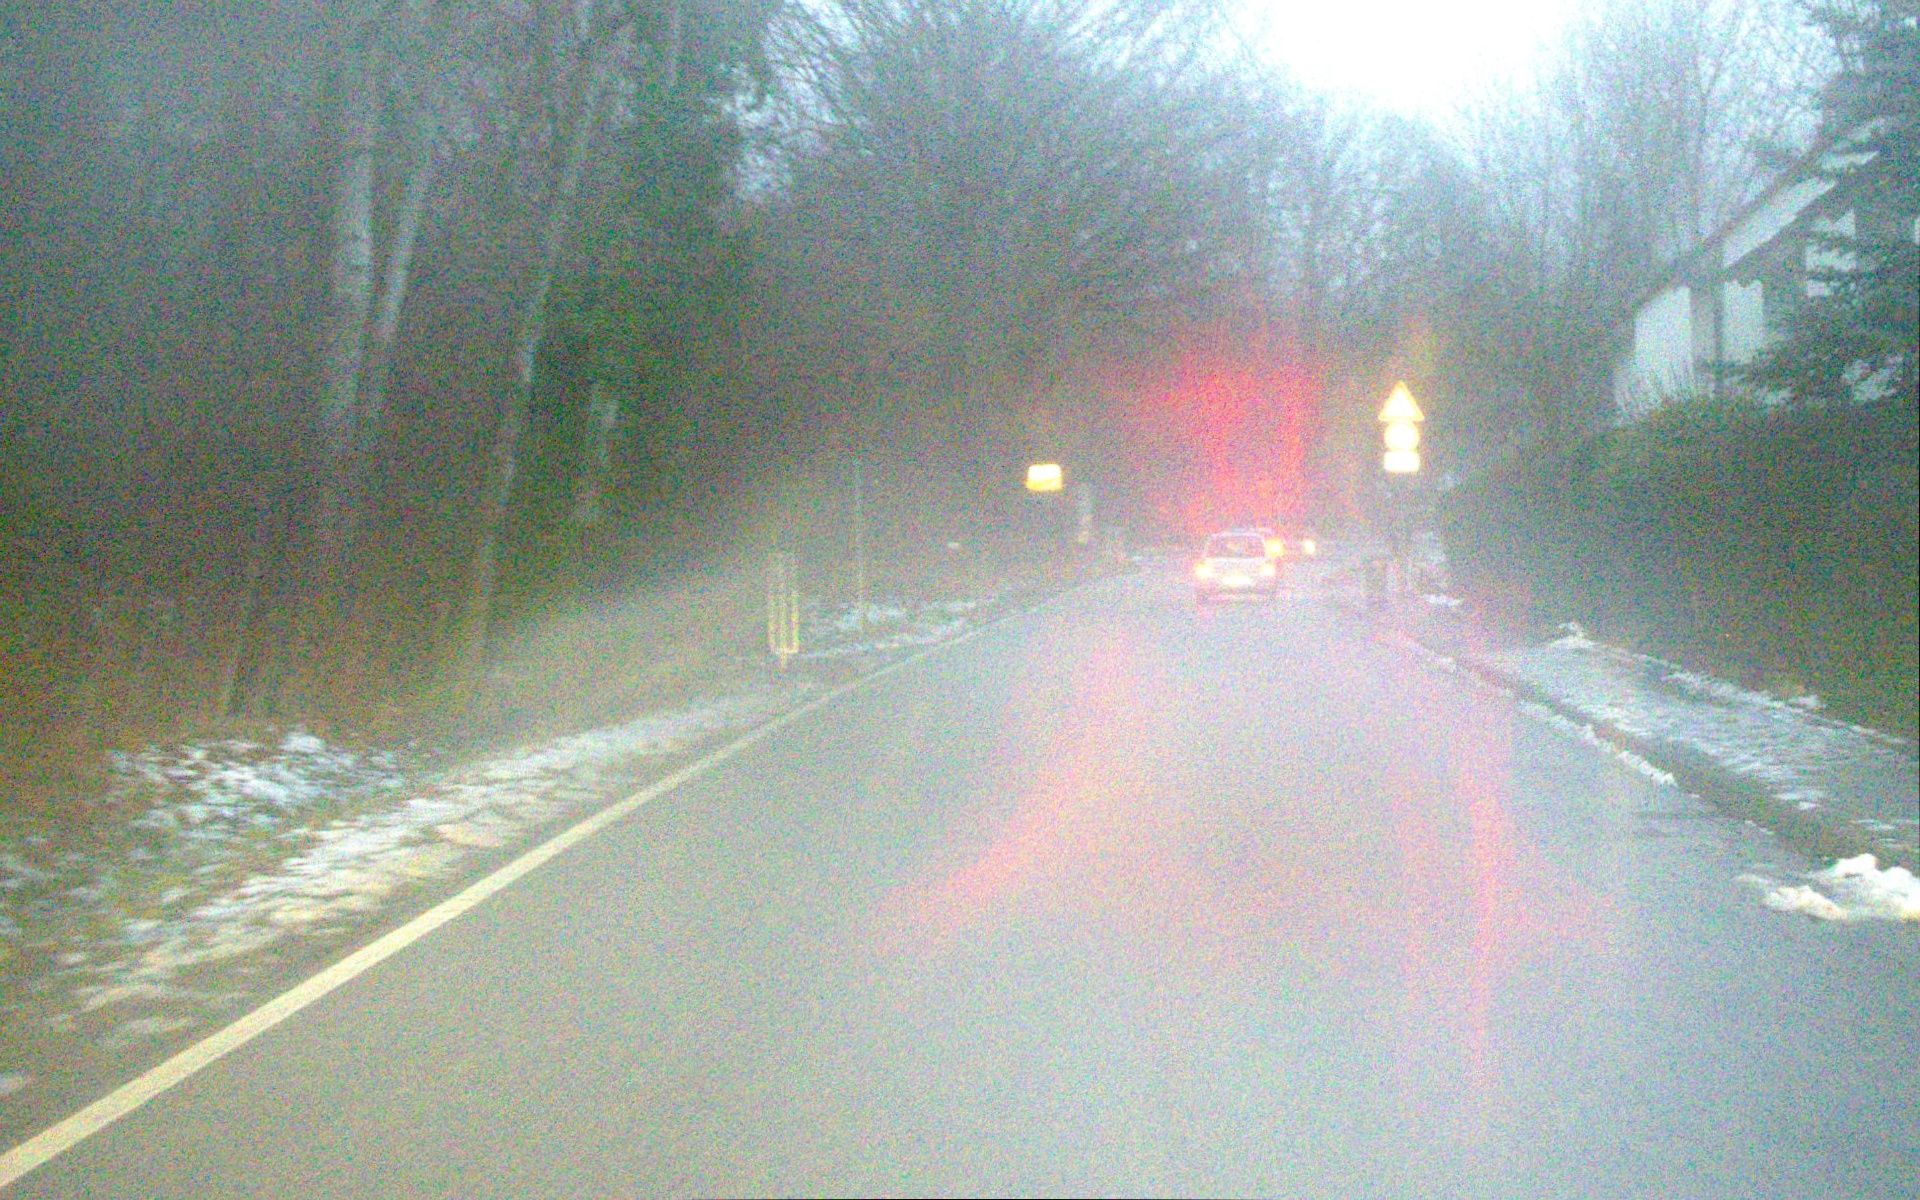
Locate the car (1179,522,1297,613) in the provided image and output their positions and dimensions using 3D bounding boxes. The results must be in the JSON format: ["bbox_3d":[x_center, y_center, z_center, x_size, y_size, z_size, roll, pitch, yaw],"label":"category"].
[{"bbox_3d":[5.672,-0.682,69.764,1.934,1.775,3.998,0,1,11],"label":"car"}]
